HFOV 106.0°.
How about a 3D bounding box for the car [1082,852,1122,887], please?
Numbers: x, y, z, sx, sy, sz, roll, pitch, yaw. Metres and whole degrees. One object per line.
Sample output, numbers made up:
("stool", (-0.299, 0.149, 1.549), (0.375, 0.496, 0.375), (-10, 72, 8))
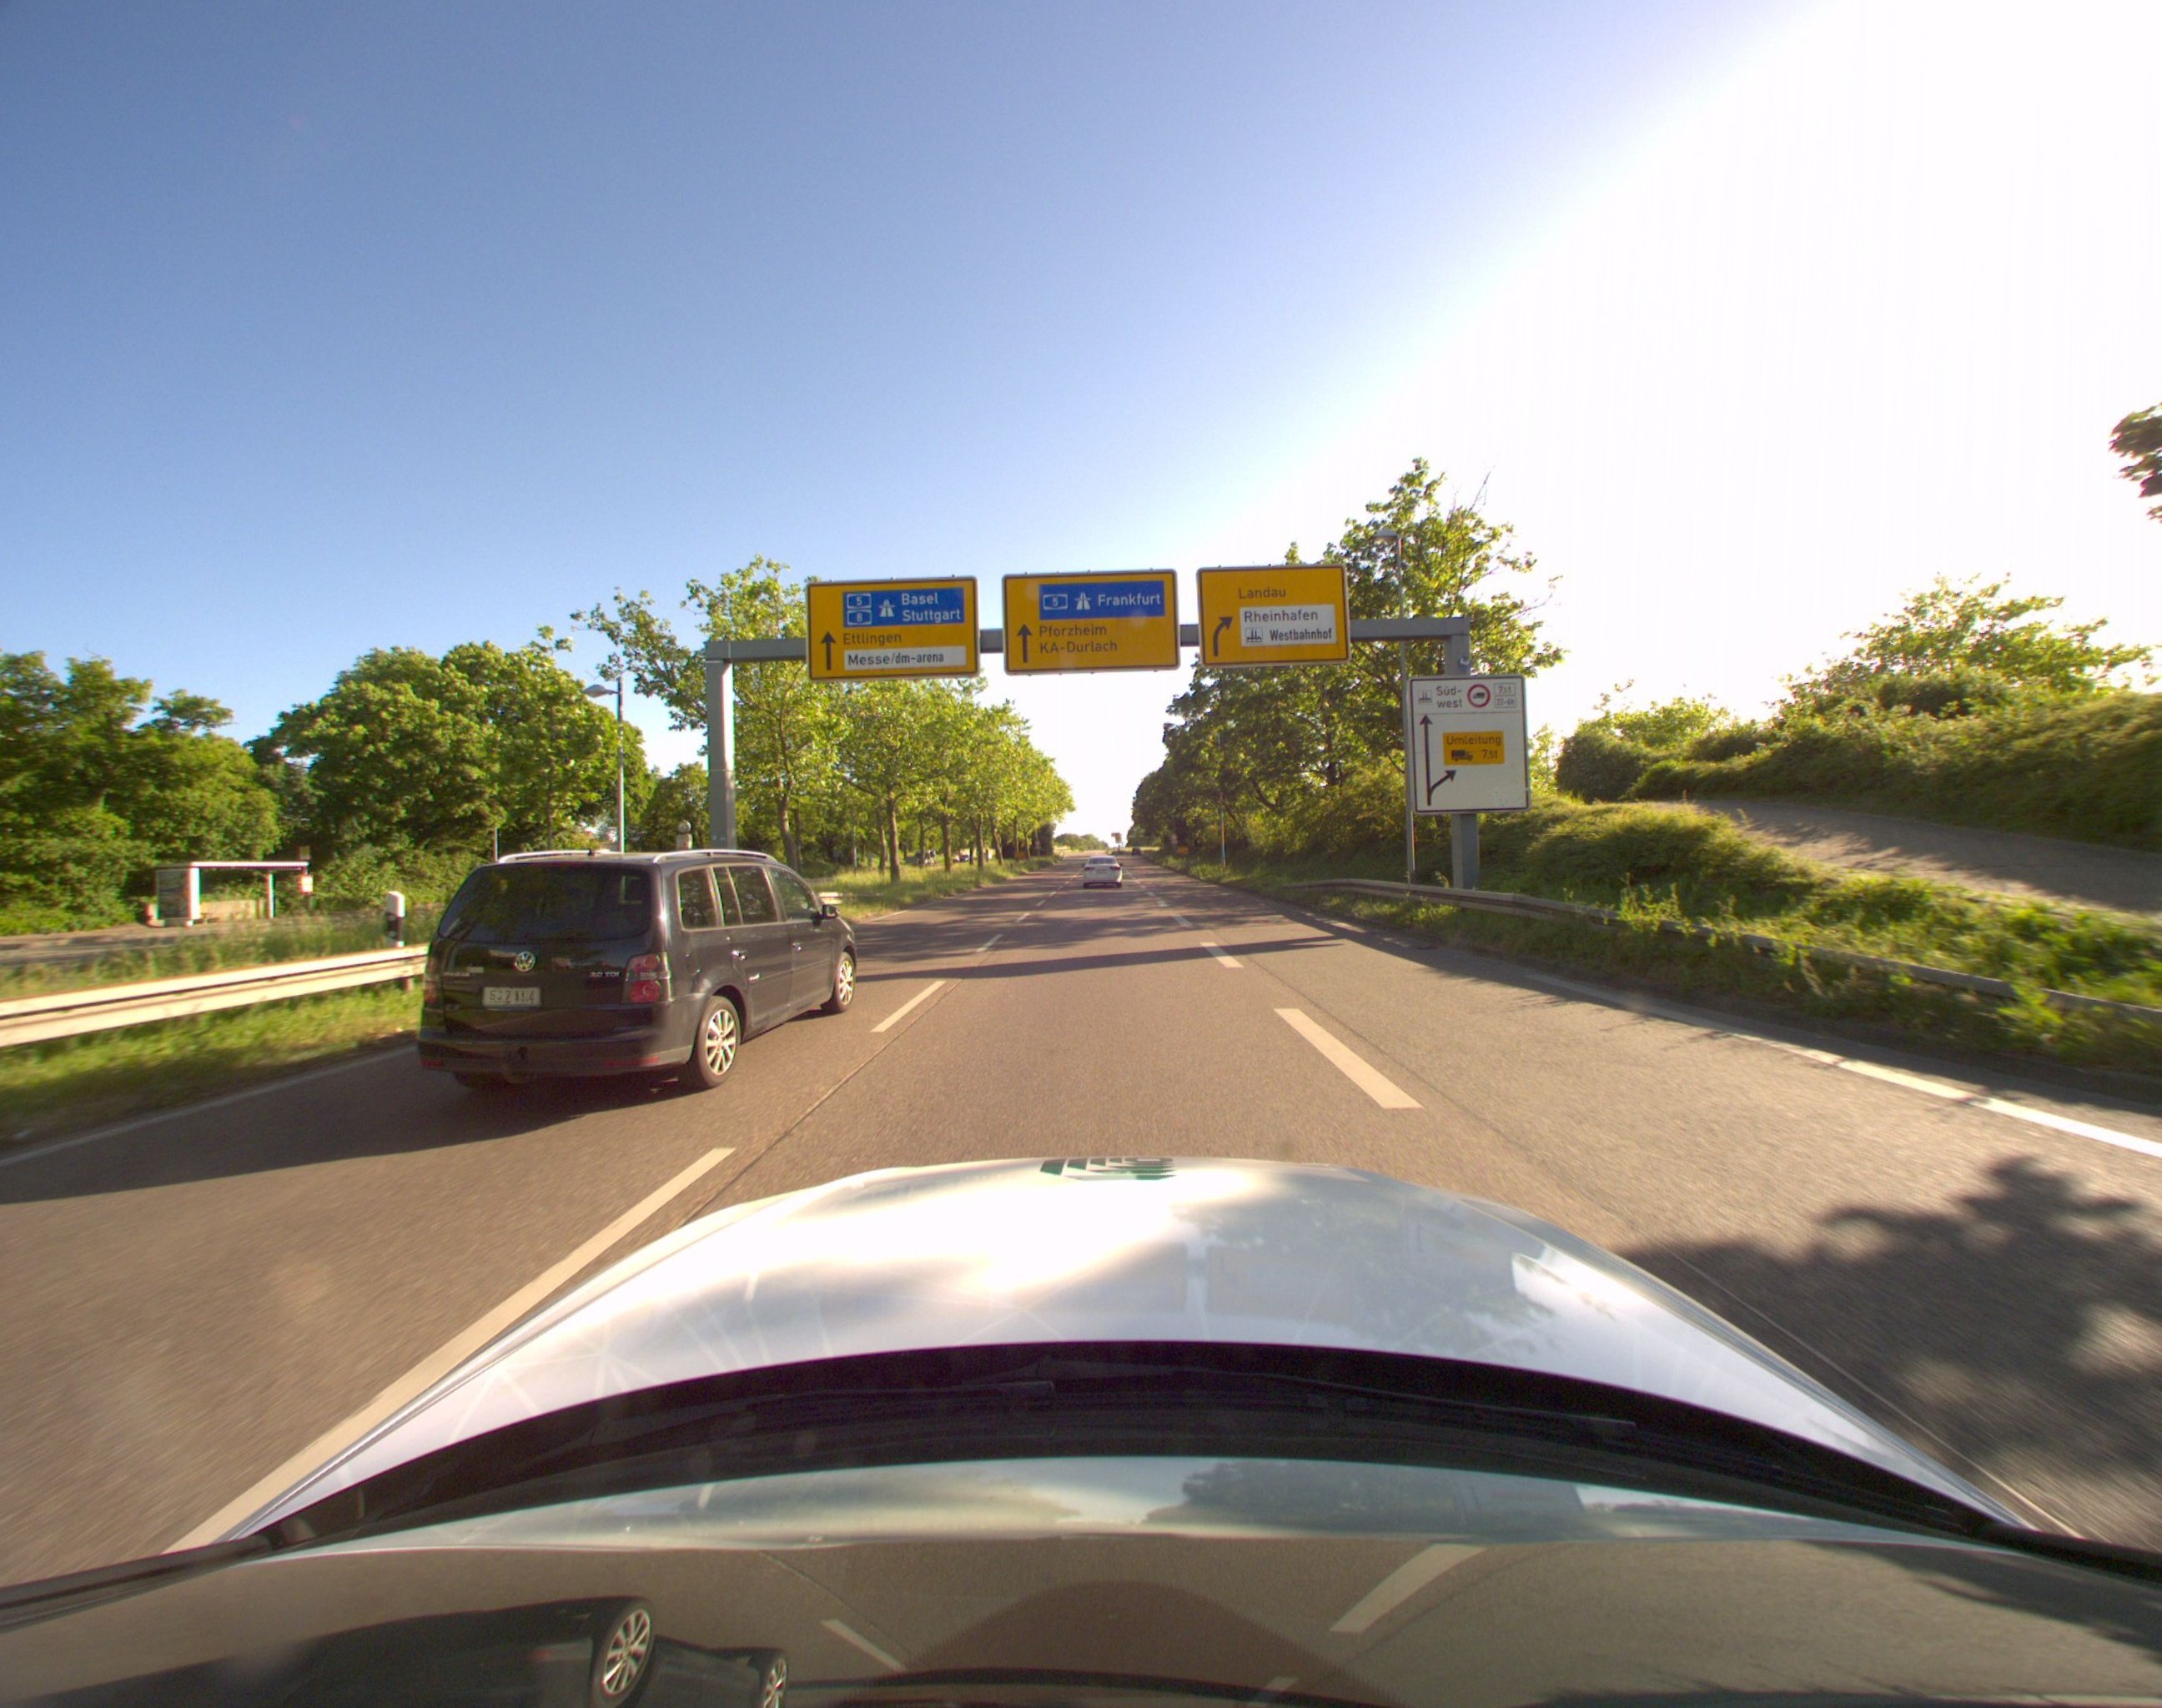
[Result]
("car", (0.992, 0.702, 38.579), (1.761, 1.464, 4.367), (-2, 0, 1))

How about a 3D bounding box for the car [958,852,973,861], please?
("car", (-19.529, 0.368, 137.627), (1.761, 1.464, 4.368), (-2, 0, 2))

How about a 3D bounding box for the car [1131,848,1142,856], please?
("car", (11.238, -0.434, 163.794), (1.757, 1.464, 4.378), (-2, 0, 9))

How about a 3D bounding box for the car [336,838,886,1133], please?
("car", (-3.250, 0.747, 7.064), (1.761, 1.644, 4.925), (-1, 0, 2))

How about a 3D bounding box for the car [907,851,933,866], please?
("car", (-21.543, 0.533, 108.929), (2.127, 1.901, 5.744), (-2, 0, 2))
